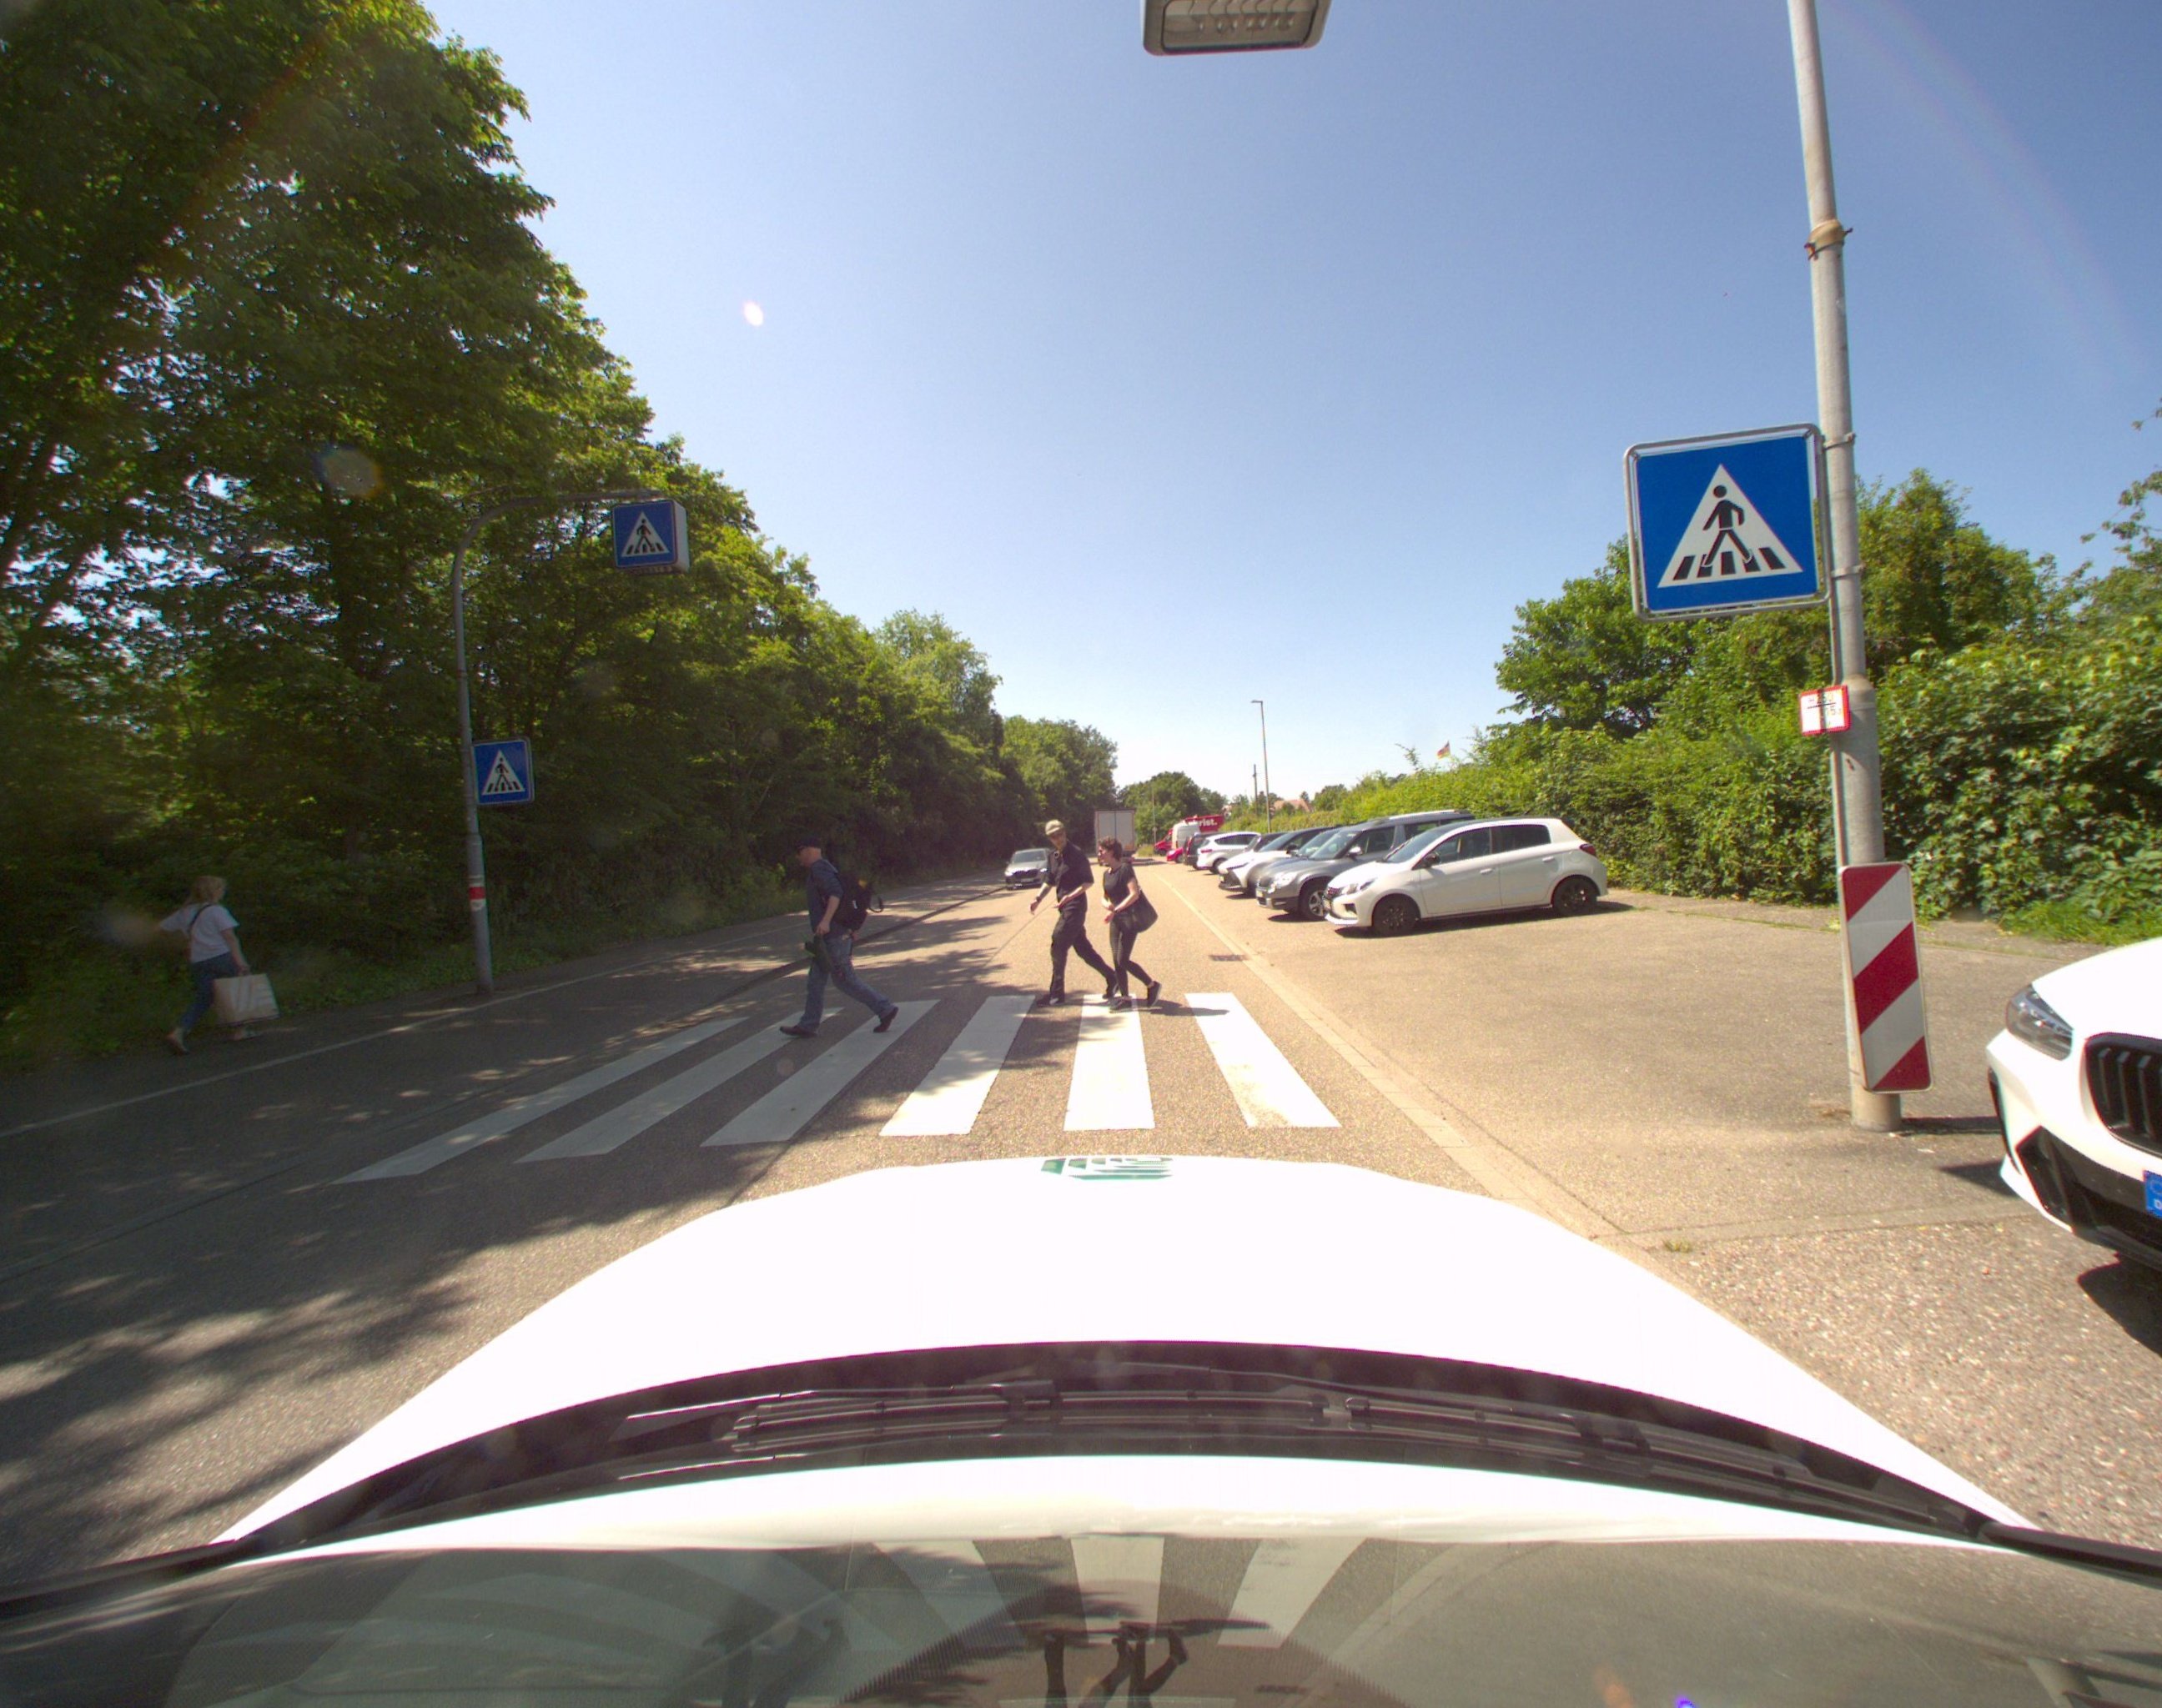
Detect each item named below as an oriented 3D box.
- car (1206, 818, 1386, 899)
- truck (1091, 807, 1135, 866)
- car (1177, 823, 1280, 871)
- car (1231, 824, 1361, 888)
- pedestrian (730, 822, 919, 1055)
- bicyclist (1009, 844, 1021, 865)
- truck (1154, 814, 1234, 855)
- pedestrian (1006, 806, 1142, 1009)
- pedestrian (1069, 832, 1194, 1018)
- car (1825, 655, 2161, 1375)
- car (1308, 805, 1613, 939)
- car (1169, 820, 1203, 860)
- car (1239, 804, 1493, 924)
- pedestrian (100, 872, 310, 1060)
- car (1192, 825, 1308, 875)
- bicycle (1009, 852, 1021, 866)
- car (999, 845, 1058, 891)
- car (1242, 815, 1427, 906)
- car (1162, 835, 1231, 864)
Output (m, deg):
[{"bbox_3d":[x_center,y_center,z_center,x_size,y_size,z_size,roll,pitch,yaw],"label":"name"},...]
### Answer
[{"bbox_3d":[5.399,0.103,20.766,3.954,1.522,1.862,-7,1,-4],"label":"car"},{"bbox_3d":[2.500,-1.228,59.977,2.722,3.745,13.258,-2,1,3],"label":"truck"},{"bbox_3d":[7.079,-0.335,39.394,4.441,1.804,1.951,-6,0,-2],"label":"car"},{"bbox_3d":[6.200,0.043,23.742,3.371,1.503,1.590,-5,1,5],"label":"car"},{"bbox_3d":[-2.136,0.664,6.981,1.152,1.751,1.023,-5,1,-2],"label":"pedestrian"},{"bbox_3d":[-5.197,0.039,64.133,0.645,1.565,0.838,-3,0,6],"label":"bicyclist"},{"bbox_3d":[10.678,-1.867,76.732,7.087,3.439,2.339,-3,1,13],"label":"truck"},{"bbox_3d":[-0.077,0.476,8.056,1.088,1.864,0.778,-2,1,-24],"label":"pedestrian"},{"bbox_3d":[0.461,0.611,7.627,0.897,1.611,0.774,-1,0,-24],"label":"pedestrian"},{"bbox_3d":[4.755,0.214,1.751,4.436,1.729,1.852,-5,0,2],"label":"car"},{"bbox_3d":[5.450,0.242,12.076,3.671,1.450,1.613,-7,1,6],"label":"car"},{"bbox_3d":[7.998,-1.102,62.761,1.946,2.733,7.175,-5,1,4],"label":"car"},{"bbox_3d":[5.130,0.159,14.968,3.952,1.640,1.662,-7,1,-3],"label":"car"},{"bbox_3d":[-8.245,1.013,7.719,0.929,1.612,0.886,-3,1,1],"label":"pedestrian"},{"bbox_3d":[6.821,-0.173,33.184,4.262,1.578,1.765,-6,1,0],"label":"car"},{"bbox_3d":[-5.180,0.418,64.120,0.558,1.027,1.842,-3,1,7],"label":"bicycle"},{"bbox_3d":[-2.073,0.528,33.313,1.884,1.532,4.198,-7,1,1],"label":"car"},{"bbox_3d":[5.488,0.129,17.893,3.445,1.527,1.538,-7,1,-3],"label":"car"},{"bbox_3d":[7.388,-0.321,52.261,4.042,1.434,1.835,-6,1,-1],"label":"car"}]
